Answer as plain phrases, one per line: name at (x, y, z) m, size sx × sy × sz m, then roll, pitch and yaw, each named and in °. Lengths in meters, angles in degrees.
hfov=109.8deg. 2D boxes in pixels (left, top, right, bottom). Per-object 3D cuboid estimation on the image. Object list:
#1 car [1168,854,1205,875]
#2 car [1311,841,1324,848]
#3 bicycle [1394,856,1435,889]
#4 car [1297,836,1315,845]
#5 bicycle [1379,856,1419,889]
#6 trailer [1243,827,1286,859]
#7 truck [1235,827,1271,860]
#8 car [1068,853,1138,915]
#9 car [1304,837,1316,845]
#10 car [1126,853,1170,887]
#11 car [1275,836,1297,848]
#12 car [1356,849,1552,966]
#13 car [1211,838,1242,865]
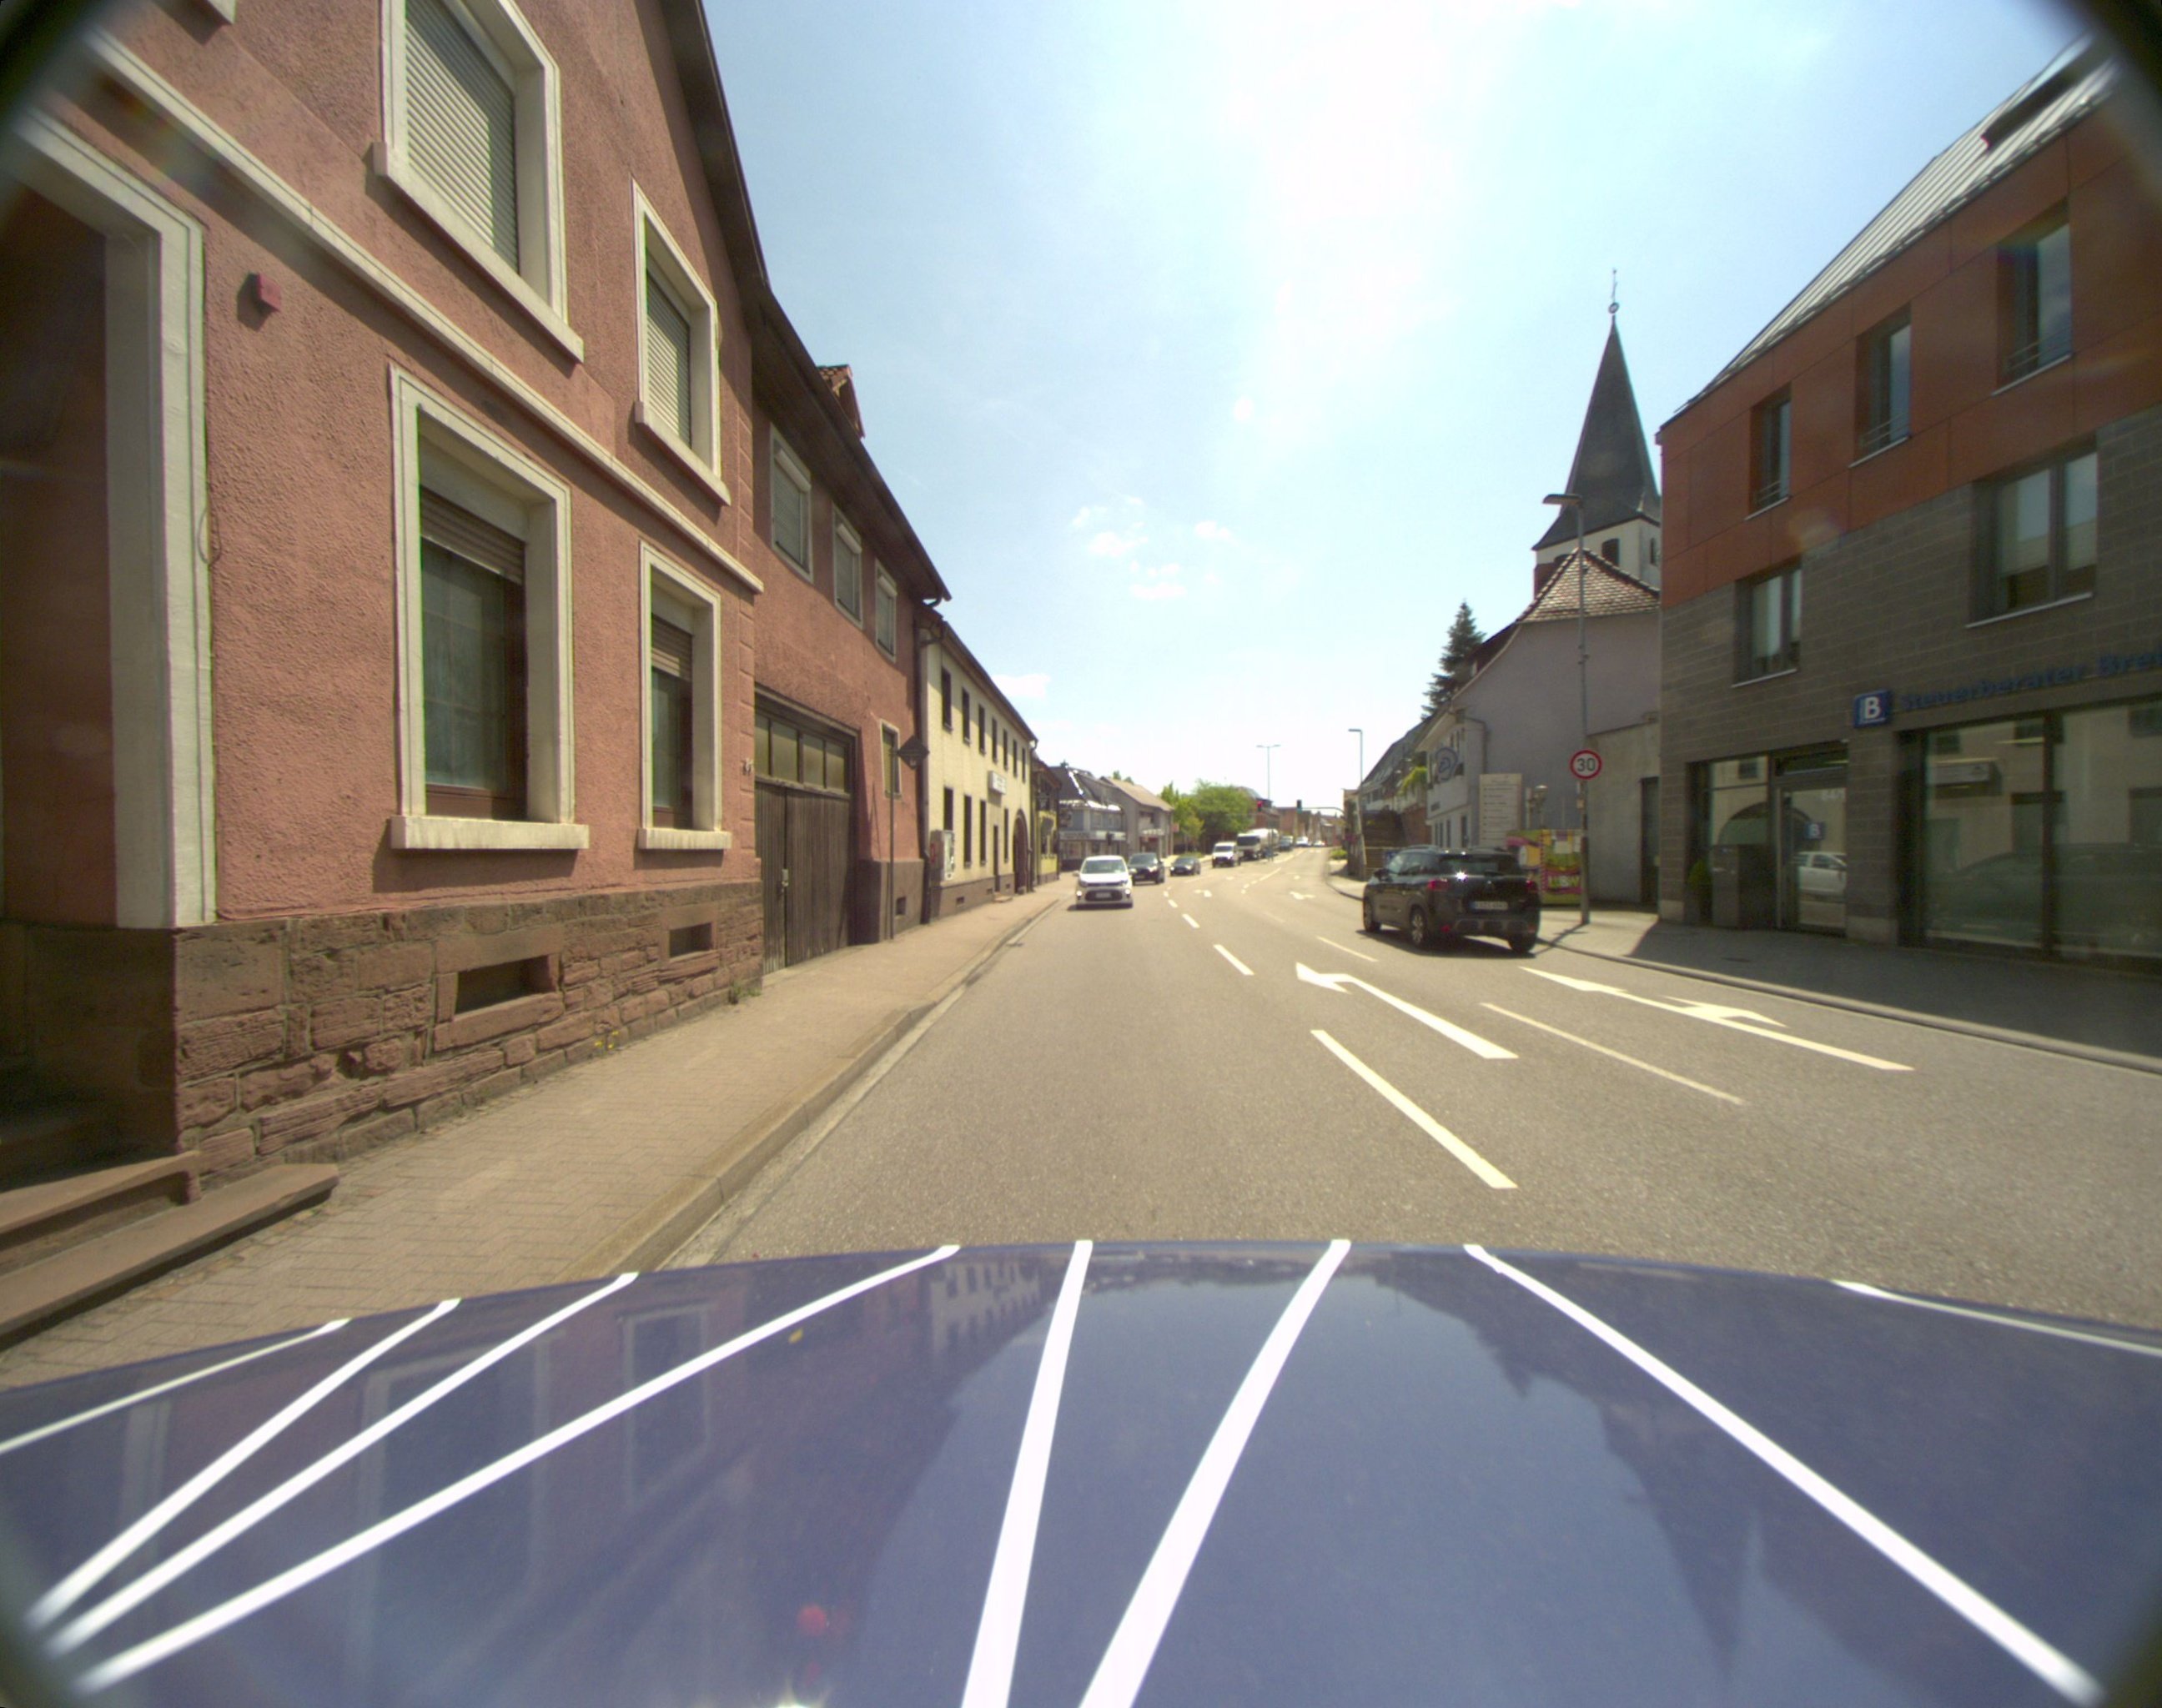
car at (7.983, 0.737, 57.193) m, size 1.926 × 1.358 × 4.308 m, roll -2°, pitch 0°, yaw 18°
car at (54.265, -2.176, 174.314) m, size 2.008 × 1.621 × 4.586 m, roll -1°, pitch 1°, yaw 28°
bicycle at (13.916, 0.769, 31.703) m, size 1.834 × 1.241 × 0.577 m, roll -3°, pitch -1°, yaw -34°
car at (40.506, -2.389, 136.726) m, size 2.007 × 1.621 × 4.586 m, roll -1°, pitch 1°, yaw 31°
bicycle at (13.495, 0.781, 32.200) m, size 1.834 × 1.241 × 0.577 m, roll -3°, pitch -1°, yaw -34°
trailer at (22.511, -1.340, 92.600) m, size 2.833 × 3.549 × 10.983 m, roll -1°, pitch 1°, yaw 25°
truck at (19.628, -1.188, 86.474) m, size 2.843 × 3.549 × 5.477 m, roll -1°, pitch 1°, yaw 25°
car at (0.733, 0.795, 22.229) m, size 1.724 × 1.541 × 4.304 m, roll -3°, pitch 0°, yaw 5°
car at (46.371, -2.621, 153.826) m, size 2.008 × 1.621 × 4.584 m, roll -1°, pitch 1°, yaw 22°
car at (3.578, 0.791, 39.931) m, size 1.723 × 1.541 × 4.307 m, roll -2°, pitch 0°, yaw 13°
car at (28.607, -1.640, 106.152) m, size 2.008 × 1.621 × 4.586 m, roll -1°, pitch 1°, yaw 28°
car at (6.115, 0.762, 13.014) m, size 1.673 × 1.648 × 4.019 m, roll 1°, pitch 1°, yaw 6°
car at (14.187, -0.258, 73.828) m, size 2.172 × 2.549 × 4.831 m, roll -1°, pitch 1°, yaw 19°
